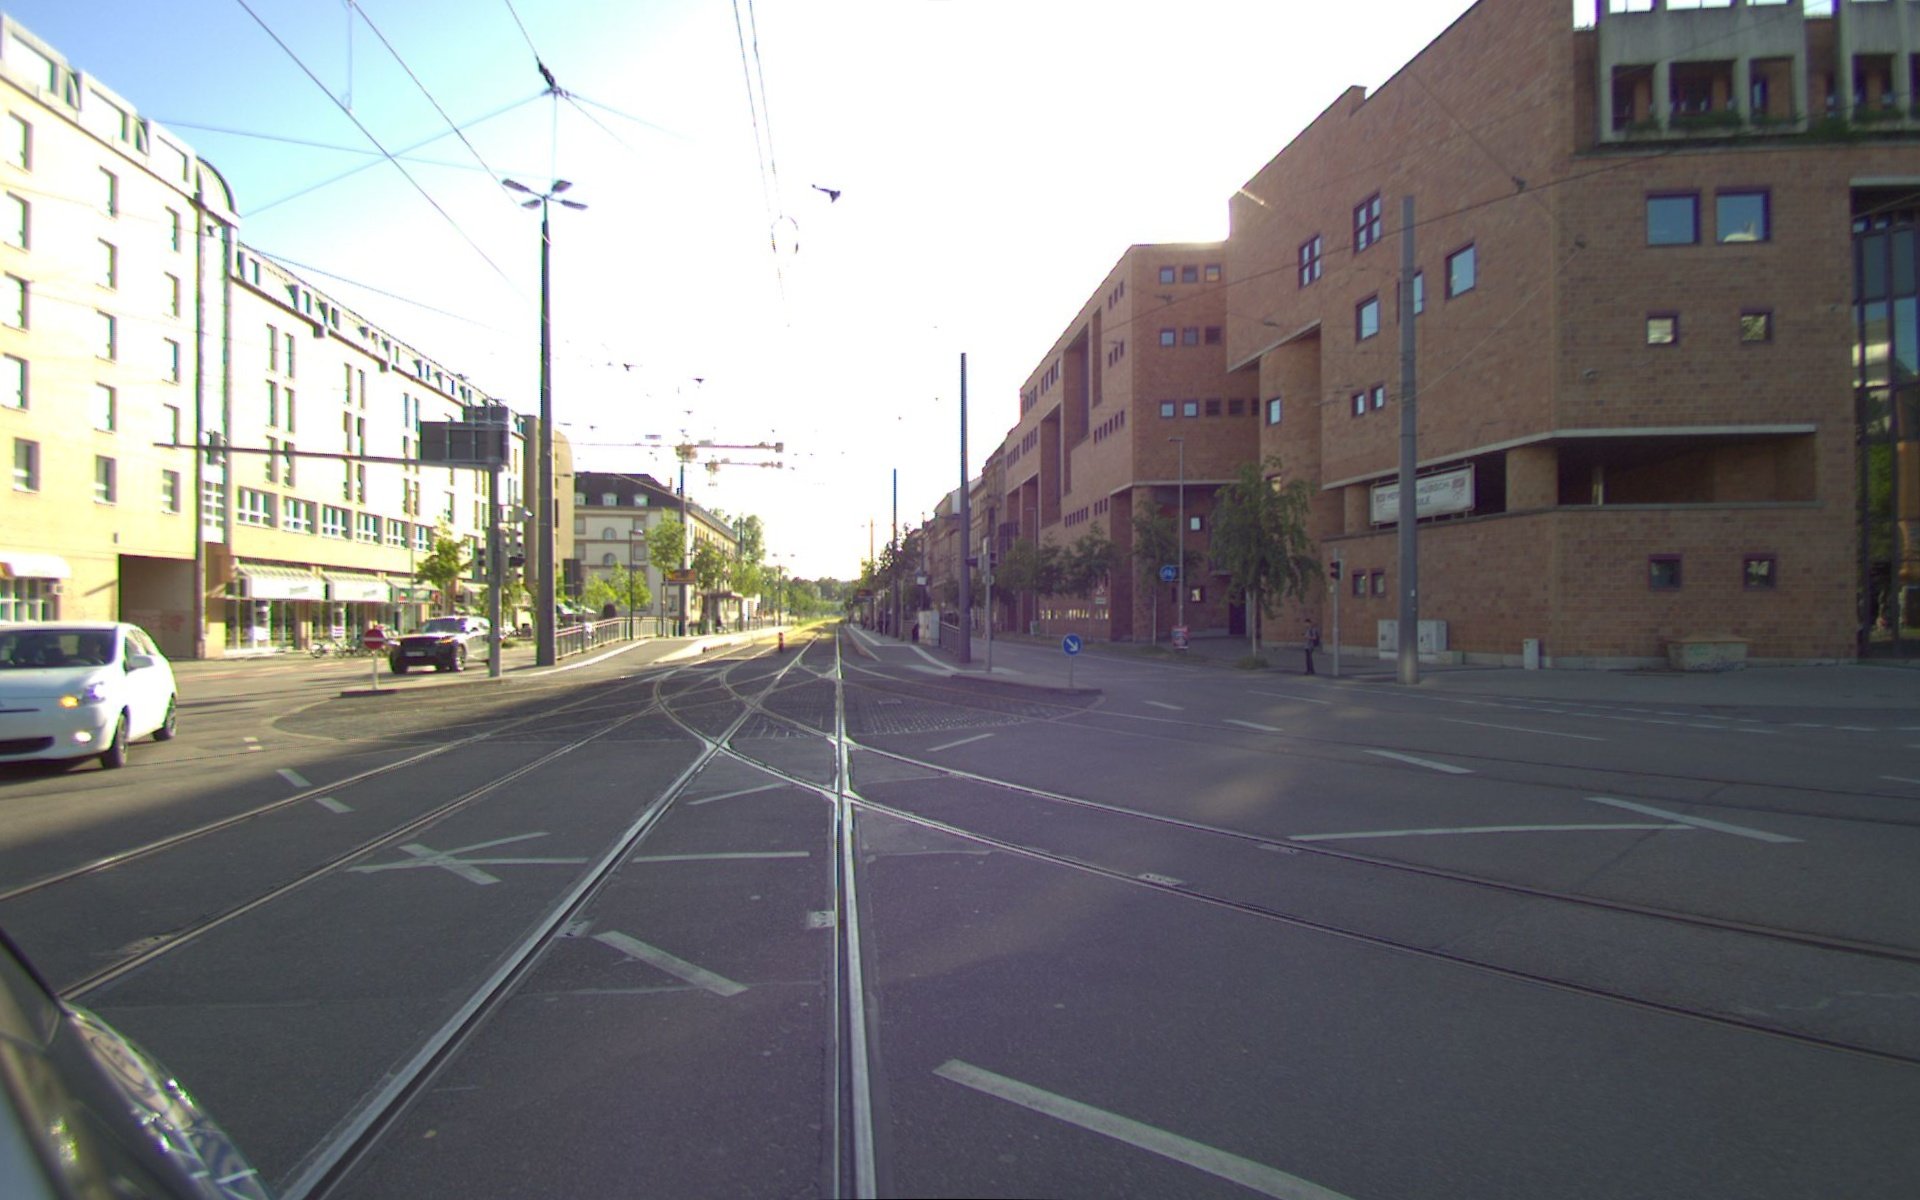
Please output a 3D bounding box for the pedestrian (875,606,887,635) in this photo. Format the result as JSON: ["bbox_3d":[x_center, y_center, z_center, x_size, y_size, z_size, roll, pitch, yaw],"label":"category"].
[{"bbox_3d":[-4.843,1.247,61.748,0.682,1.755,0.587,0,-1,-9],"label":"pedestrian"}]

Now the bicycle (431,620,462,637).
[{"bbox_3d":[-34.160,1.928,67.337,0.599,1.058,1.867,3,-2,23],"label":"bicycle"}]

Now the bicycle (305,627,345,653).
[{"bbox_3d":[-30.195,1.896,48.108,1.759,1.157,0.550,1,0,15],"label":"bicycle"}]

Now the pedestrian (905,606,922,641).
[{"bbox_3d":[-2.078,1.040,45.474,0.690,1.546,0.655,0,-1,-9],"label":"pedestrian"}]

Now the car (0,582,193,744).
[{"bbox_3d":[-9.837,0.634,11.060,1.613,1.478,4.199,0,-1,-27],"label":"car"}]

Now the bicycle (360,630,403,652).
[{"bbox_3d":[-29.719,2.121,52.025,1.749,1.079,0.738,1,0,-3],"label":"bicycle"}]

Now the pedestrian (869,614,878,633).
[{"bbox_3d":[-6.936,1.889,81.438,0.682,1.587,0.587,0,-1,-9],"label":"pedestrian"}]

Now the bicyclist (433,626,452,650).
[{"bbox_3d":[-34.300,2.533,67.105,0.577,1.526,0.843,2,-3,24],"label":"bicyclist"}]

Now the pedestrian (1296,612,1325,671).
[{"bbox_3d":[9.941,1.169,28.712,0.501,1.629,0.506,-2,-1,-17],"label":"pedestrian"}]

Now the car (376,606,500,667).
[{"bbox_3d":[-15.834,1.073,30.952,1.926,1.674,4.362,-2,-1,-7],"label":"car"}]

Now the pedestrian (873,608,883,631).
[{"bbox_3d":[-6.195,1.483,76.080,0.682,1.755,0.587,0,-1,-9],"label":"pedestrian"}]

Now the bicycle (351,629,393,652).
[{"bbox_3d":[-29.521,2.025,50.808,1.749,1.150,0.554,1,0,-3],"label":"bicycle"}]

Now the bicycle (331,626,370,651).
[{"bbox_3d":[-29.823,1.898,49.530,1.759,1.157,0.550,1,0,15],"label":"bicycle"}]
